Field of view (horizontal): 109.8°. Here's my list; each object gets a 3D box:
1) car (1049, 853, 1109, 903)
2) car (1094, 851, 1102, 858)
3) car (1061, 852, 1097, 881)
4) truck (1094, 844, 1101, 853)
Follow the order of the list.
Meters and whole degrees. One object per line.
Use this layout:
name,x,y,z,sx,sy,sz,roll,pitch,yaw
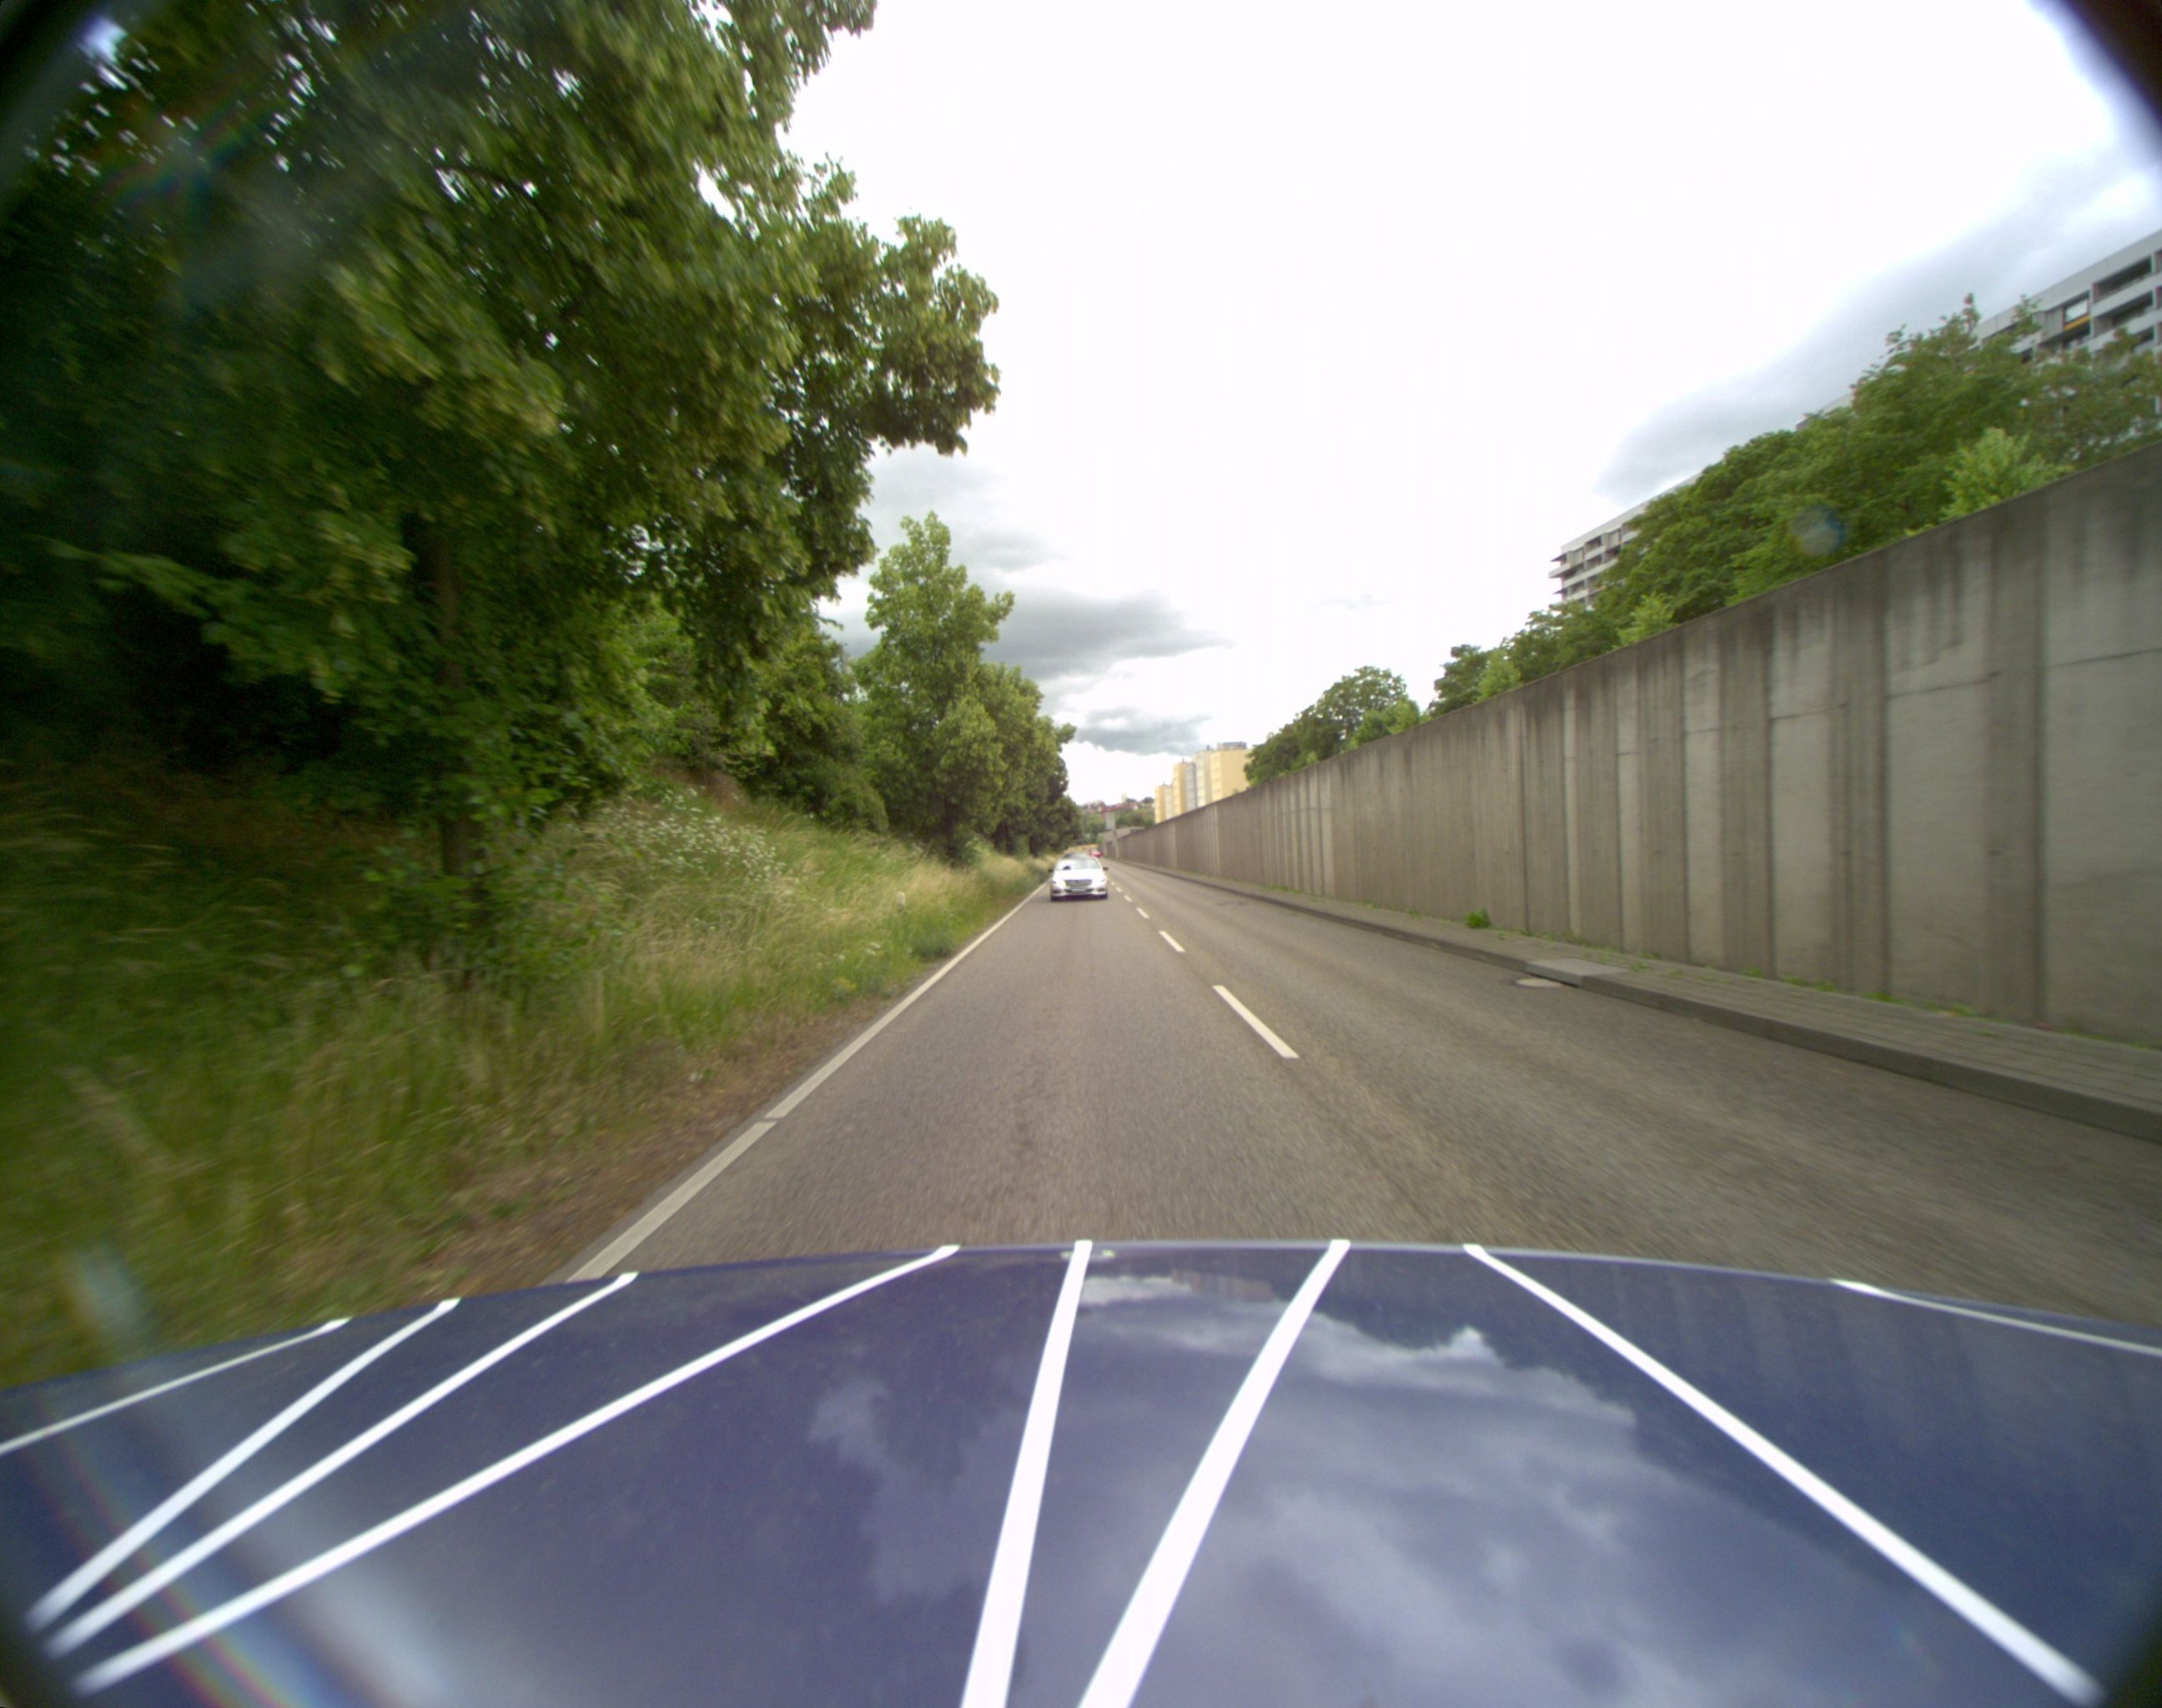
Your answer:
car,-0.055,0.771,26.260,1.842,1.499,4.160,-2,1,0
car,3.964,0.047,175.085,1.639,1.478,3.493,-2,0,0
car,-0.103,0.670,42.696,1.878,1.459,3.999,-2,1,0
truck,4.461,-1.460,204.727,1.593,2.210,3.999,-2,1,1
